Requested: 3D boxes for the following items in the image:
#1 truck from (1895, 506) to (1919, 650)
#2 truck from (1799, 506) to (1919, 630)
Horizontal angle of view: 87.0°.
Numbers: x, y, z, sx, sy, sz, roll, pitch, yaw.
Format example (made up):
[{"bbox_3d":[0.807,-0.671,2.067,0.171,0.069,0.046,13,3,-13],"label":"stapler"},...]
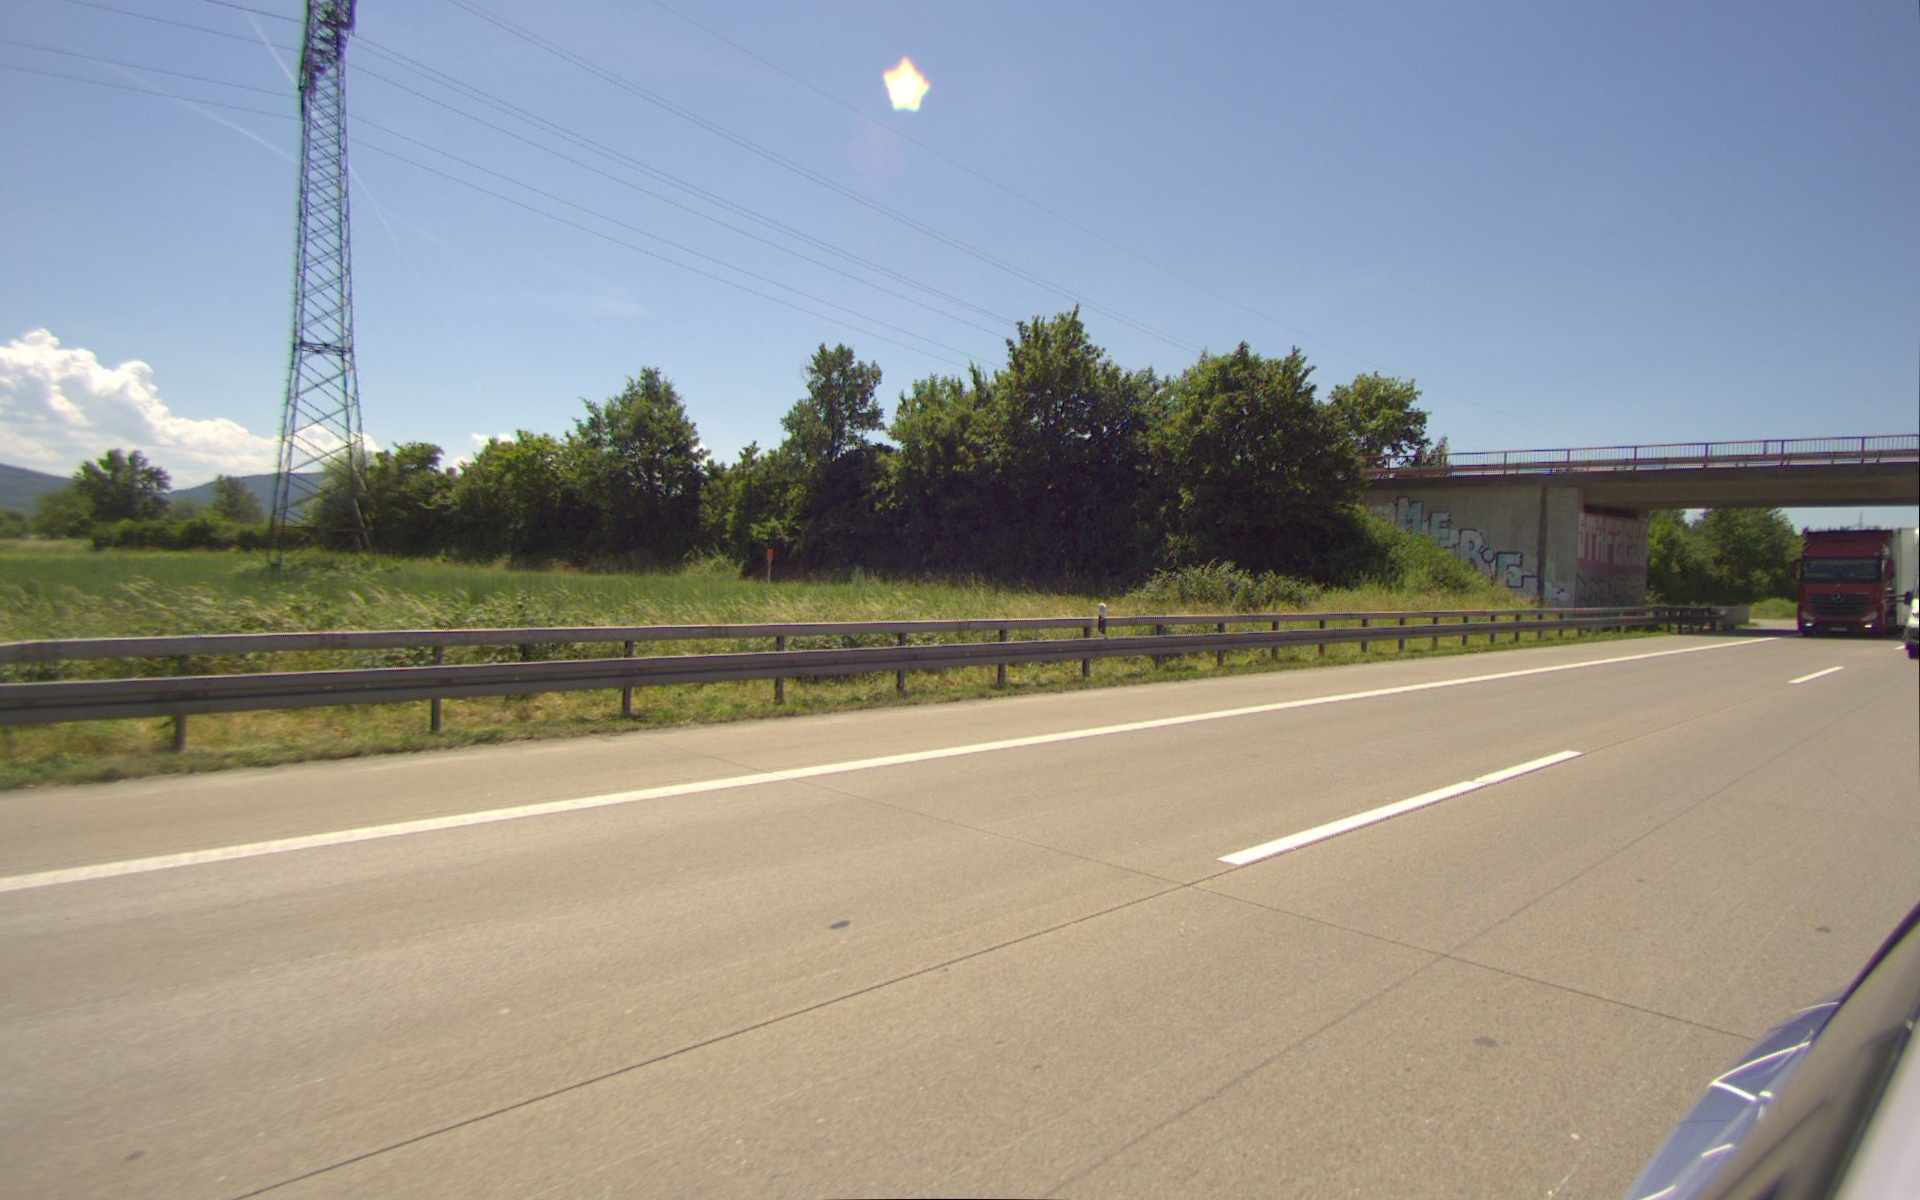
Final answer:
[{"bbox_3d":[26.217,-0.551,25.809,7.678,3.390,2.781,-1,0,-42],"label":"truck"},{"bbox_3d":[36.377,-1.192,40.446,10.699,4.377,2.852,-1,0,-42],"label":"truck"}]
